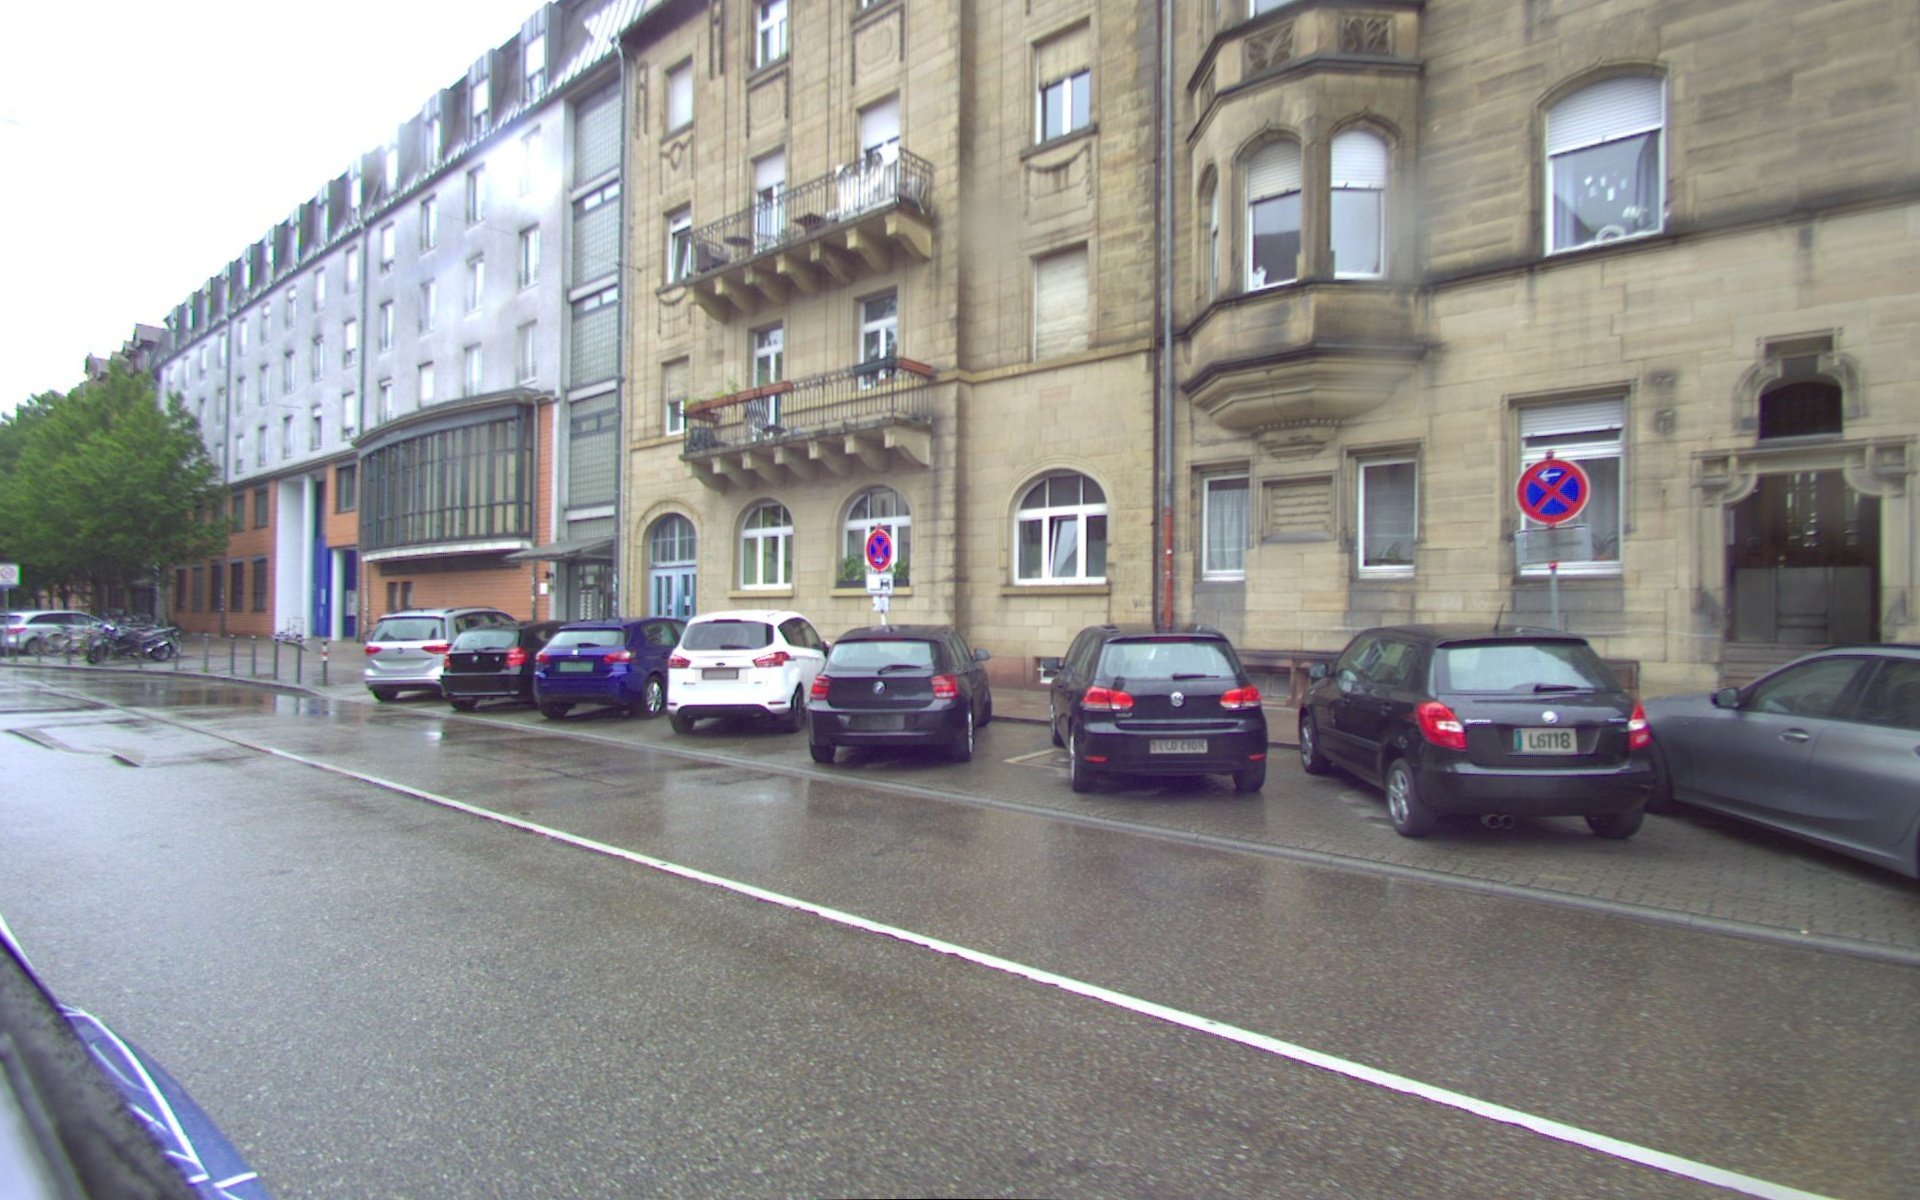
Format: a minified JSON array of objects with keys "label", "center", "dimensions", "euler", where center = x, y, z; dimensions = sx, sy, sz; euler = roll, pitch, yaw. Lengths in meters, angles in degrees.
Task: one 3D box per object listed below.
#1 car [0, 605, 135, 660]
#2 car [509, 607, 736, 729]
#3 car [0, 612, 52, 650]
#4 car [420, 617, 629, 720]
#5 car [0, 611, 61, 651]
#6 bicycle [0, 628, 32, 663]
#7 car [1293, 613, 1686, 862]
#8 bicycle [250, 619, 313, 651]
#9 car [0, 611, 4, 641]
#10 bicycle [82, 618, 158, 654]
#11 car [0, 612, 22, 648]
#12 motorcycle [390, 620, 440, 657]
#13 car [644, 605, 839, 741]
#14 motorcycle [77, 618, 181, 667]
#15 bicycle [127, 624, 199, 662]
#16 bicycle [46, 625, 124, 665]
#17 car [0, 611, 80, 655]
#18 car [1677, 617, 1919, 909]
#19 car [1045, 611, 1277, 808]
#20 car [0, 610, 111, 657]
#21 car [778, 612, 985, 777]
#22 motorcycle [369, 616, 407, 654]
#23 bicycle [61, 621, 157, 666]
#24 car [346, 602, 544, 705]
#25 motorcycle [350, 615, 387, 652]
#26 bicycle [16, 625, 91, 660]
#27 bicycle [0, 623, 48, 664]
[{"label":"car","center":[-31.681,1.131,35.391],"dimensions":[1.981,1.828,3.981],"euler":[1,-2,14]},{"label":"car","center":[-5.141,0.953,15.978],"dimensions":[1.881,1.539,3.716],"euler":[1,1,10]},{"label":"car","center":[-44.416,1.398,46.327],"dimensions":[1.993,1.728,3.762],"euler":[0,-2,31]},{"label":"car","center":[-7.329,1.120,17.467],"dimensions":[1.697,1.539,3.720],"euler":[1,-2,6]},{"label":"car","center":[-41.910,1.346,44.001],"dimensions":[1.993,1.728,3.762],"euler":[0,-2,31]},{"label":"bicycle","center":[-30.282,1.397,31.704],"dimensions":[0.544,1.081,1.667],"euler":[-1,-5,38]},{"label":"car","center":[3.985,0.912,8.278],"dimensions":[1.608,1.555,3.439],"euler":[-1,0,5]},{"label":"bicycle","center":[-26.923,1.391,40.184],"dimensions":[1.873,1.234,0.939],"euler":[2,-2,-23]},{"label":"car","center":[-56.395,1.428,56.671],"dimensions":[1.899,1.728,3.762],"euler":[0,-2,31]},{"label":"bicycle","center":[-25.704,1.113,30.991],"dimensions":[0.544,1.081,1.667],"euler":[-1,-3,38]},{"label":"car","center":[-47.731,1.395,48.429],"dimensions":[1.993,1.728,3.762],"euler":[0,-2,31]},{"label":"motorcycle","center":[-17.177,1.210,31.866],"dimensions":[2.361,1.110,0.591],"euler":[-1,-3,42]},{"label":"car","center":[-2.907,0.904,14.263],"dimensions":[1.755,1.639,3.724],"euler":[-1,0,3]},{"label":"motorcycle","center":[-23.820,1.196,29.053],"dimensions":[0.758,1.320,2.226],"euler":[-1,0,41]},{"label":"bicycle","center":[-24.535,1.298,31.171],"dimensions":[0.544,1.081,1.667],"euler":[-1,1,38]},{"label":"bicycle","center":[-25.732,1.297,29.782],"dimensions":[0.544,1.081,1.667],"euler":[-1,1,38]},{"label":"car","center":[-37.793,1.305,40.222],"dimensions":[1.993,1.728,3.762],"euler":[0,-2,31]},{"label":"car","center":[6.113,0.910,5.739],"dimensions":[1.678,1.555,3.428],"euler":[-1,0,2]},{"label":"car","center":[1.792,0.917,10.137],"dimensions":[1.606,1.555,3.758],"euler":[-1,0,1]},{"label":"car","center":[-35.147,1.273,38.588],"dimensions":[1.993,1.728,3.762],"euler":[0,-2,31]},{"label":"car","center":[-0.737,0.949,11.785],"dimensions":[1.757,1.555,3.720],"euler":[-1,0,6]},{"label":"motorcycle","center":[-18.850,1.141,33.315],"dimensions":[1.676,1.238,0.539],"euler":[-1,-3,41]},{"label":"bicycle","center":[-24.749,1.252,29.455],"dimensions":[0.772,1.181,2.024],"euler":[-1,1,38]},{"label":"car","center":[-9.698,0.994,19.438],"dimensions":[1.791,1.743,3.923],"euler":[1,-2,0]},{"label":"motorcycle","center":[-20.166,1.140,34.493],"dimensions":[1.676,1.238,0.539],"euler":[-1,-3,41]},{"label":"bicycle","center":[-28.715,1.348,32.080],"dimensions":[0.544,1.081,1.667],"euler":[-1,-2,38]},{"label":"bicycle","center":[-27.875,1.293,29.598],"dimensions":[0.544,1.081,1.667],"euler":[-1,3,38]}]
